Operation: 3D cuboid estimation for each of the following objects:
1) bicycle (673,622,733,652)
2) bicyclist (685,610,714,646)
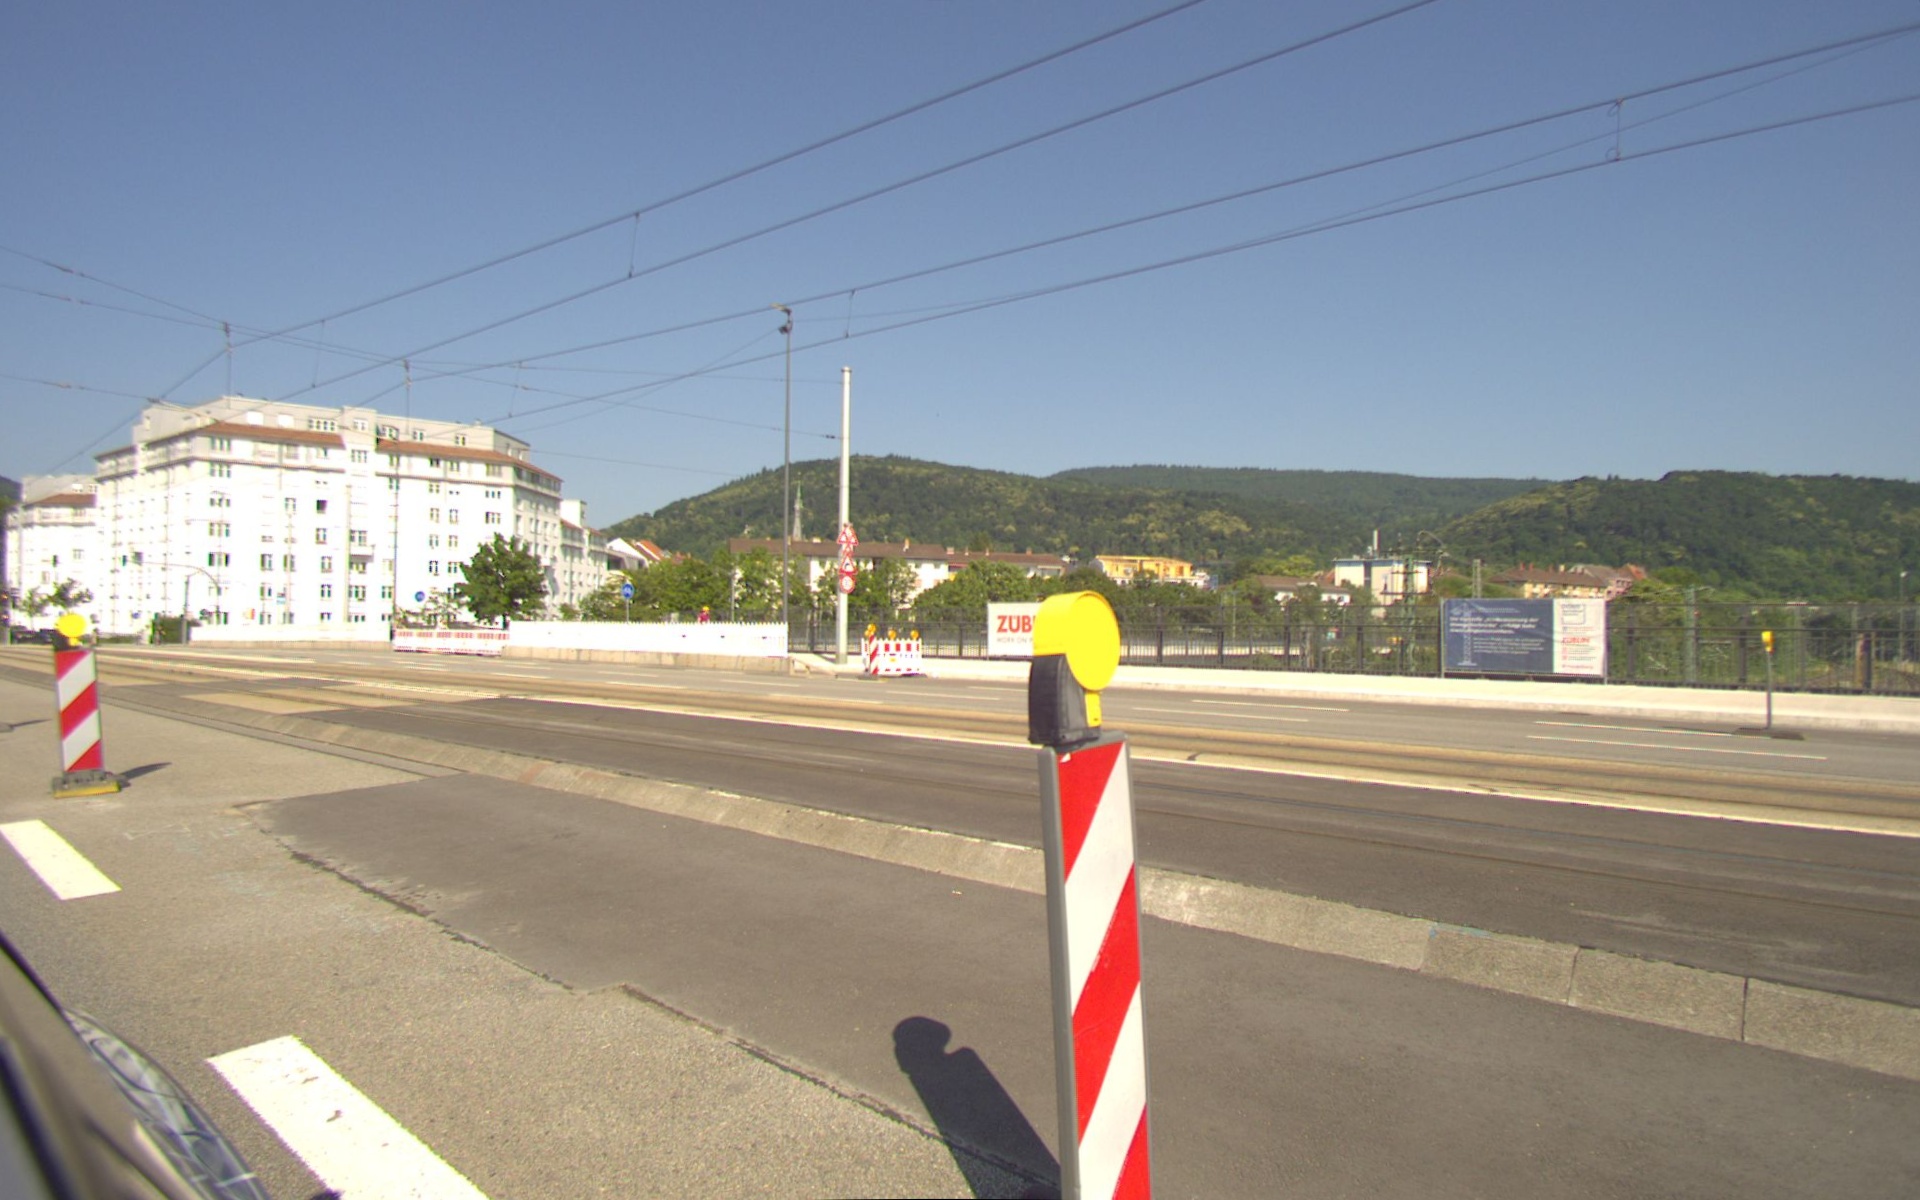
[{"bbox_3d":[-10.871,1.552,42.668,3.070,1.204,0.847,-1,0,40],"label":"bicycle"},{"bbox_3d":[-11.017,1.175,42.815,0.816,1.530,0.847,-1,0,40],"label":"bicyclist"}]
